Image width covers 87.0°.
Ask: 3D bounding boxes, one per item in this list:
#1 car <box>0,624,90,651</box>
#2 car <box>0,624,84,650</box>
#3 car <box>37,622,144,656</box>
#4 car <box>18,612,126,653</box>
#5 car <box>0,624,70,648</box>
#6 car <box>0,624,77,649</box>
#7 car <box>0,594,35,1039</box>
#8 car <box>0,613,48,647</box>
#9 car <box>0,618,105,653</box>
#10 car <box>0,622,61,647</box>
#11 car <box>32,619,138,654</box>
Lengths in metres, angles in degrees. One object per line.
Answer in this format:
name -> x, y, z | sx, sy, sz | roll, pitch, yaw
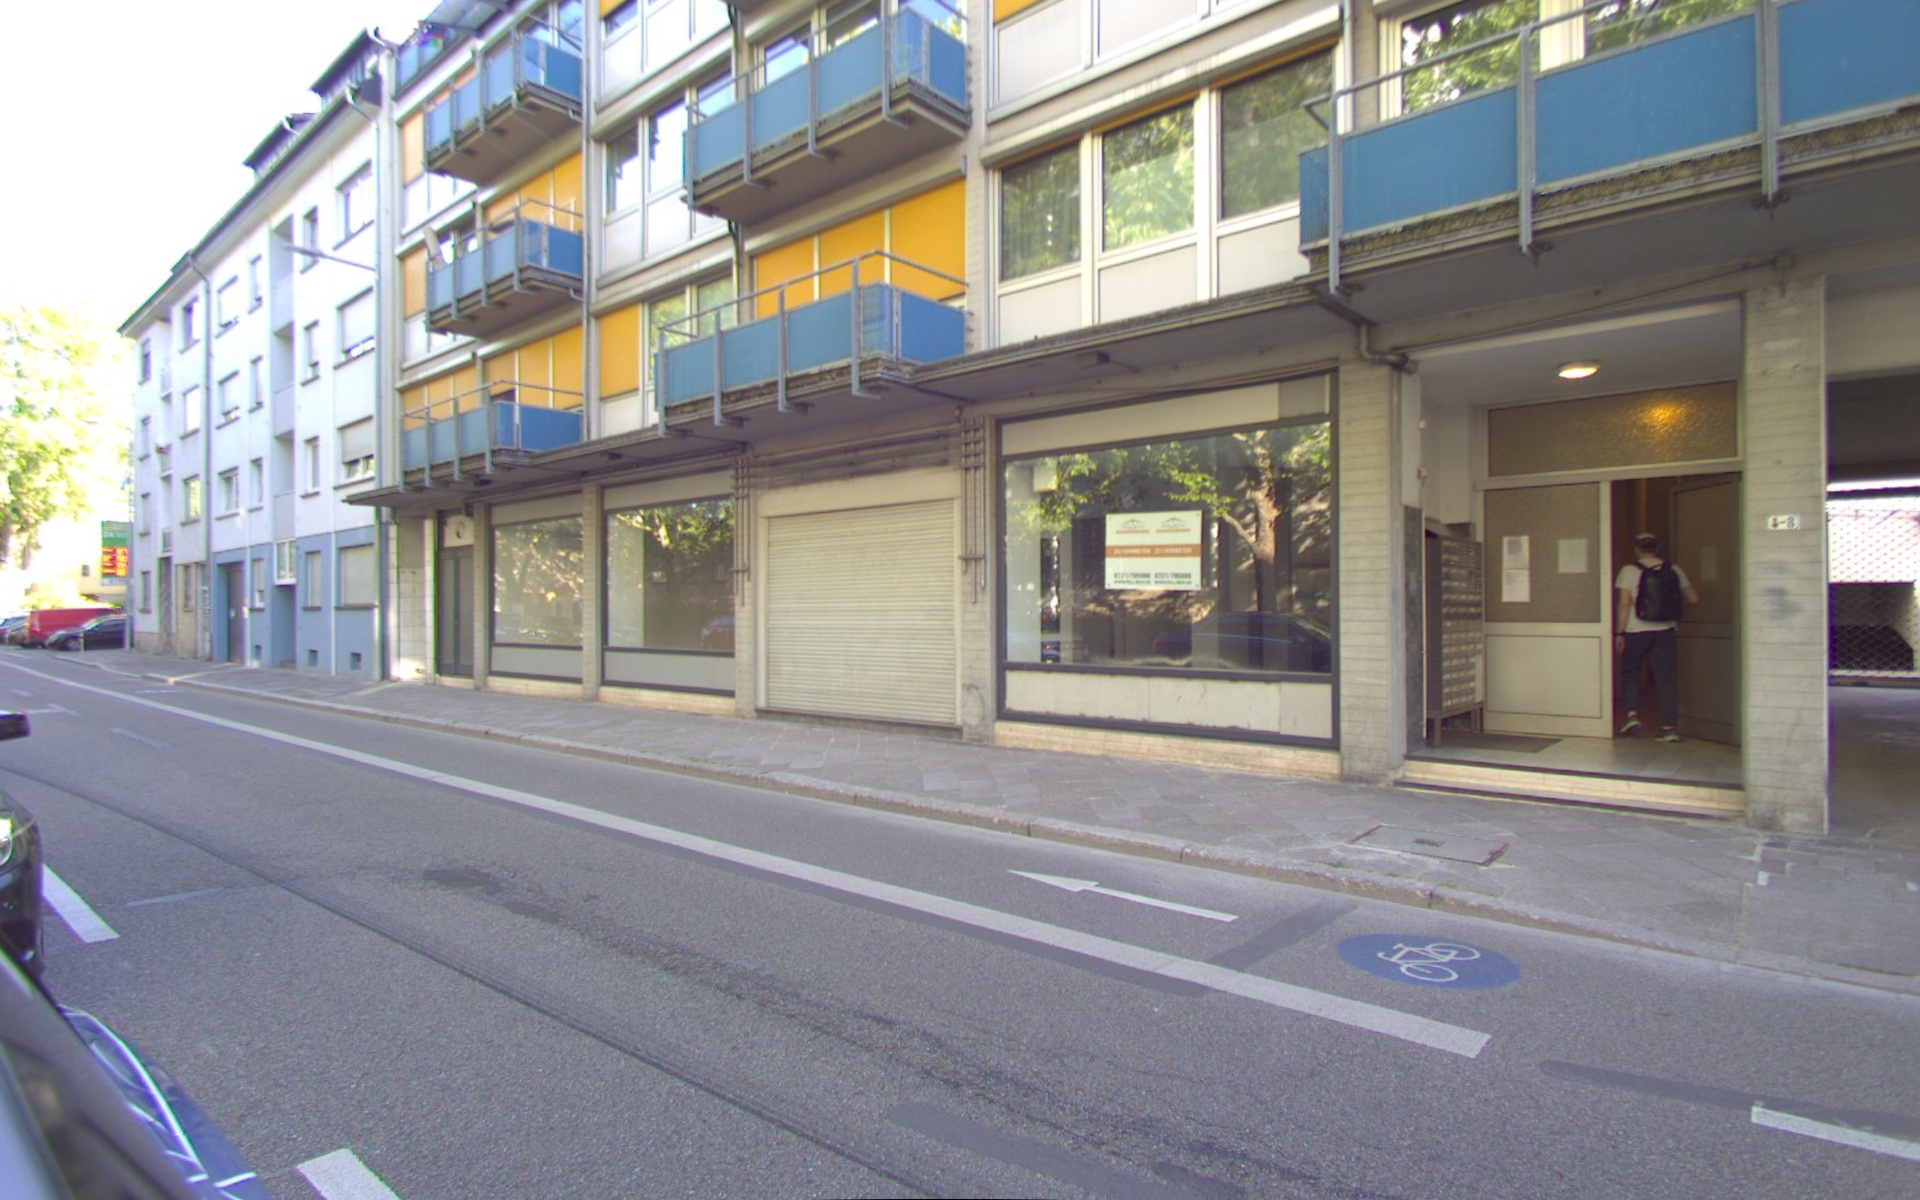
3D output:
car -> -51.844, 2.098, 57.227 | 1.594, 1.385, 3.854 | -1, 0, 42
car -> -53.357, 2.118, 58.567 | 1.594, 1.385, 3.854 | -1, 0, 42
car -> -39.791, 1.748, 46.356 | 1.534, 1.420, 3.551 | -2, -1, 42
car -> -43.701, 1.567, 49.870 | 1.749, 1.921, 3.854 | -1, -1, 42
car -> -57.179, 2.202, 62.007 | 1.525, 1.343, 3.854 | -1, 0, 42
car -> -55.373, 2.178, 60.446 | 1.525, 1.343, 3.854 | -1, 0, 42
car -> -5.432, 0.767, 4.209 | 4.291, 1.515, 1.805 | -1, 0, 40
car -> -62.707, 1.969, 66.596 | 1.725, 2.193, 3.854 | -1, 0, 42
car -> -46.048, 1.782, 51.409 | 1.603, 1.598, 3.854 | -1, 0, 42
car -> -59.209, 2.190, 63.765 | 1.539, 1.451, 3.733 | -1, 0, 42
car -> -41.508, 1.702, 48.052 | 1.602, 1.521, 3.620 | -1, 0, 42
